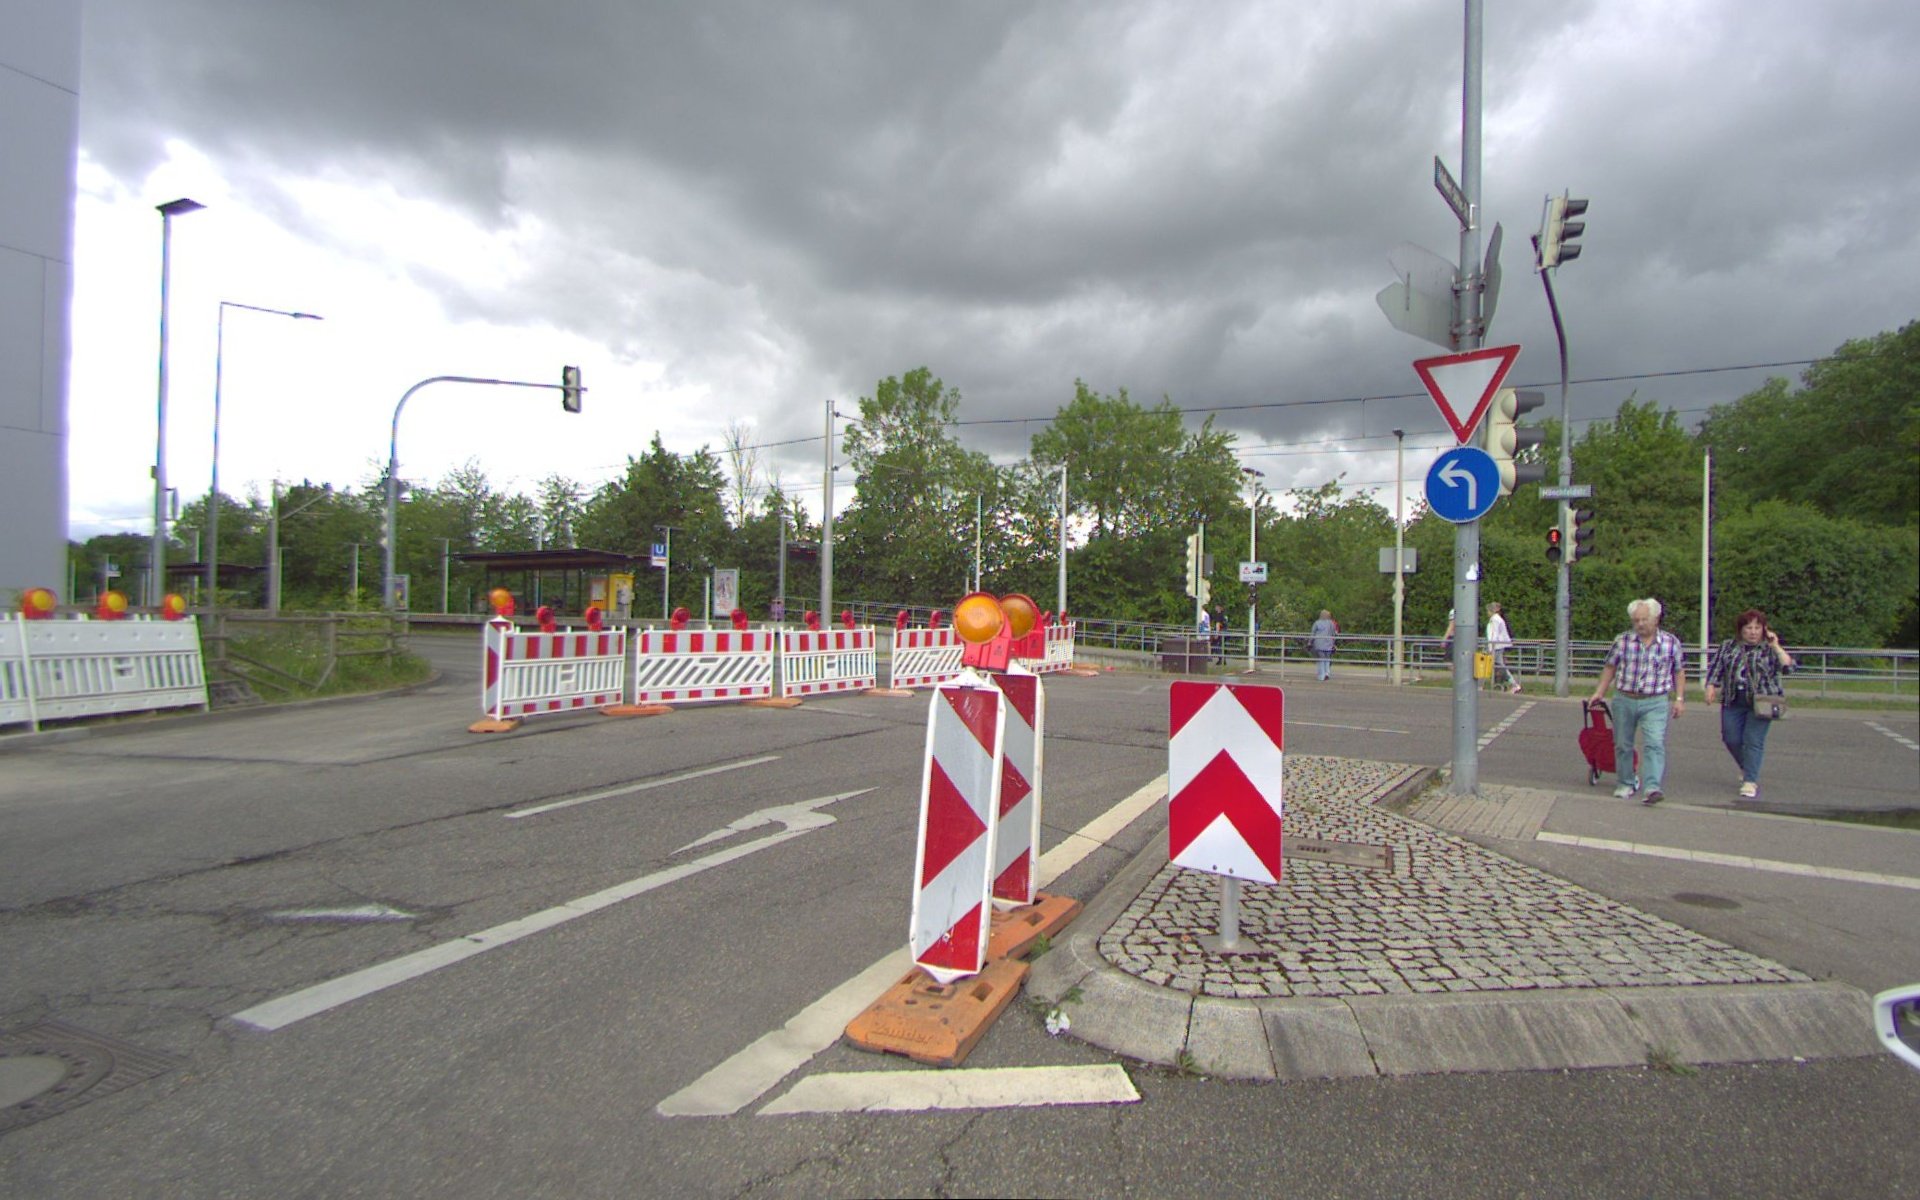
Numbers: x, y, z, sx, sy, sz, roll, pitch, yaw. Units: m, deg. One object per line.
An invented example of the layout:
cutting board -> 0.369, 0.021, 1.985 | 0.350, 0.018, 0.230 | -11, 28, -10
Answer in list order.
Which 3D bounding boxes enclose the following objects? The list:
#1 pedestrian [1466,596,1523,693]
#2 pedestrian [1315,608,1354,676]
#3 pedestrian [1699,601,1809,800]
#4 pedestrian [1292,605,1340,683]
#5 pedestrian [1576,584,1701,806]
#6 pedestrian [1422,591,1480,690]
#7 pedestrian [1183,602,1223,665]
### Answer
pedestrian -> 10.122, 0.822, 19.021 | 0.712, 1.771, 0.952 | 1, 0, 42
pedestrian -> 9.261, 1.024, 24.834 | 0.711, 1.643, 0.802 | 1, 0, 36
pedestrian -> 6.729, 0.812, 8.542 | 0.681, 1.588, 0.730 | 1, 0, 37
pedestrian -> 8.273, 1.005, 23.320 | 0.939, 1.771, 0.722 | 1, 0, 25
pedestrian -> 5.355, 0.730, 7.973 | 0.686, 1.654, 0.722 | -1, -3, 25
pedestrian -> 9.035, 0.726, 18.472 | 0.712, 1.771, 0.952 | 1, 0, 42
pedestrian -> 7.018, 0.962, 29.028 | 0.710, 1.771, 0.954 | 1, 0, -14
